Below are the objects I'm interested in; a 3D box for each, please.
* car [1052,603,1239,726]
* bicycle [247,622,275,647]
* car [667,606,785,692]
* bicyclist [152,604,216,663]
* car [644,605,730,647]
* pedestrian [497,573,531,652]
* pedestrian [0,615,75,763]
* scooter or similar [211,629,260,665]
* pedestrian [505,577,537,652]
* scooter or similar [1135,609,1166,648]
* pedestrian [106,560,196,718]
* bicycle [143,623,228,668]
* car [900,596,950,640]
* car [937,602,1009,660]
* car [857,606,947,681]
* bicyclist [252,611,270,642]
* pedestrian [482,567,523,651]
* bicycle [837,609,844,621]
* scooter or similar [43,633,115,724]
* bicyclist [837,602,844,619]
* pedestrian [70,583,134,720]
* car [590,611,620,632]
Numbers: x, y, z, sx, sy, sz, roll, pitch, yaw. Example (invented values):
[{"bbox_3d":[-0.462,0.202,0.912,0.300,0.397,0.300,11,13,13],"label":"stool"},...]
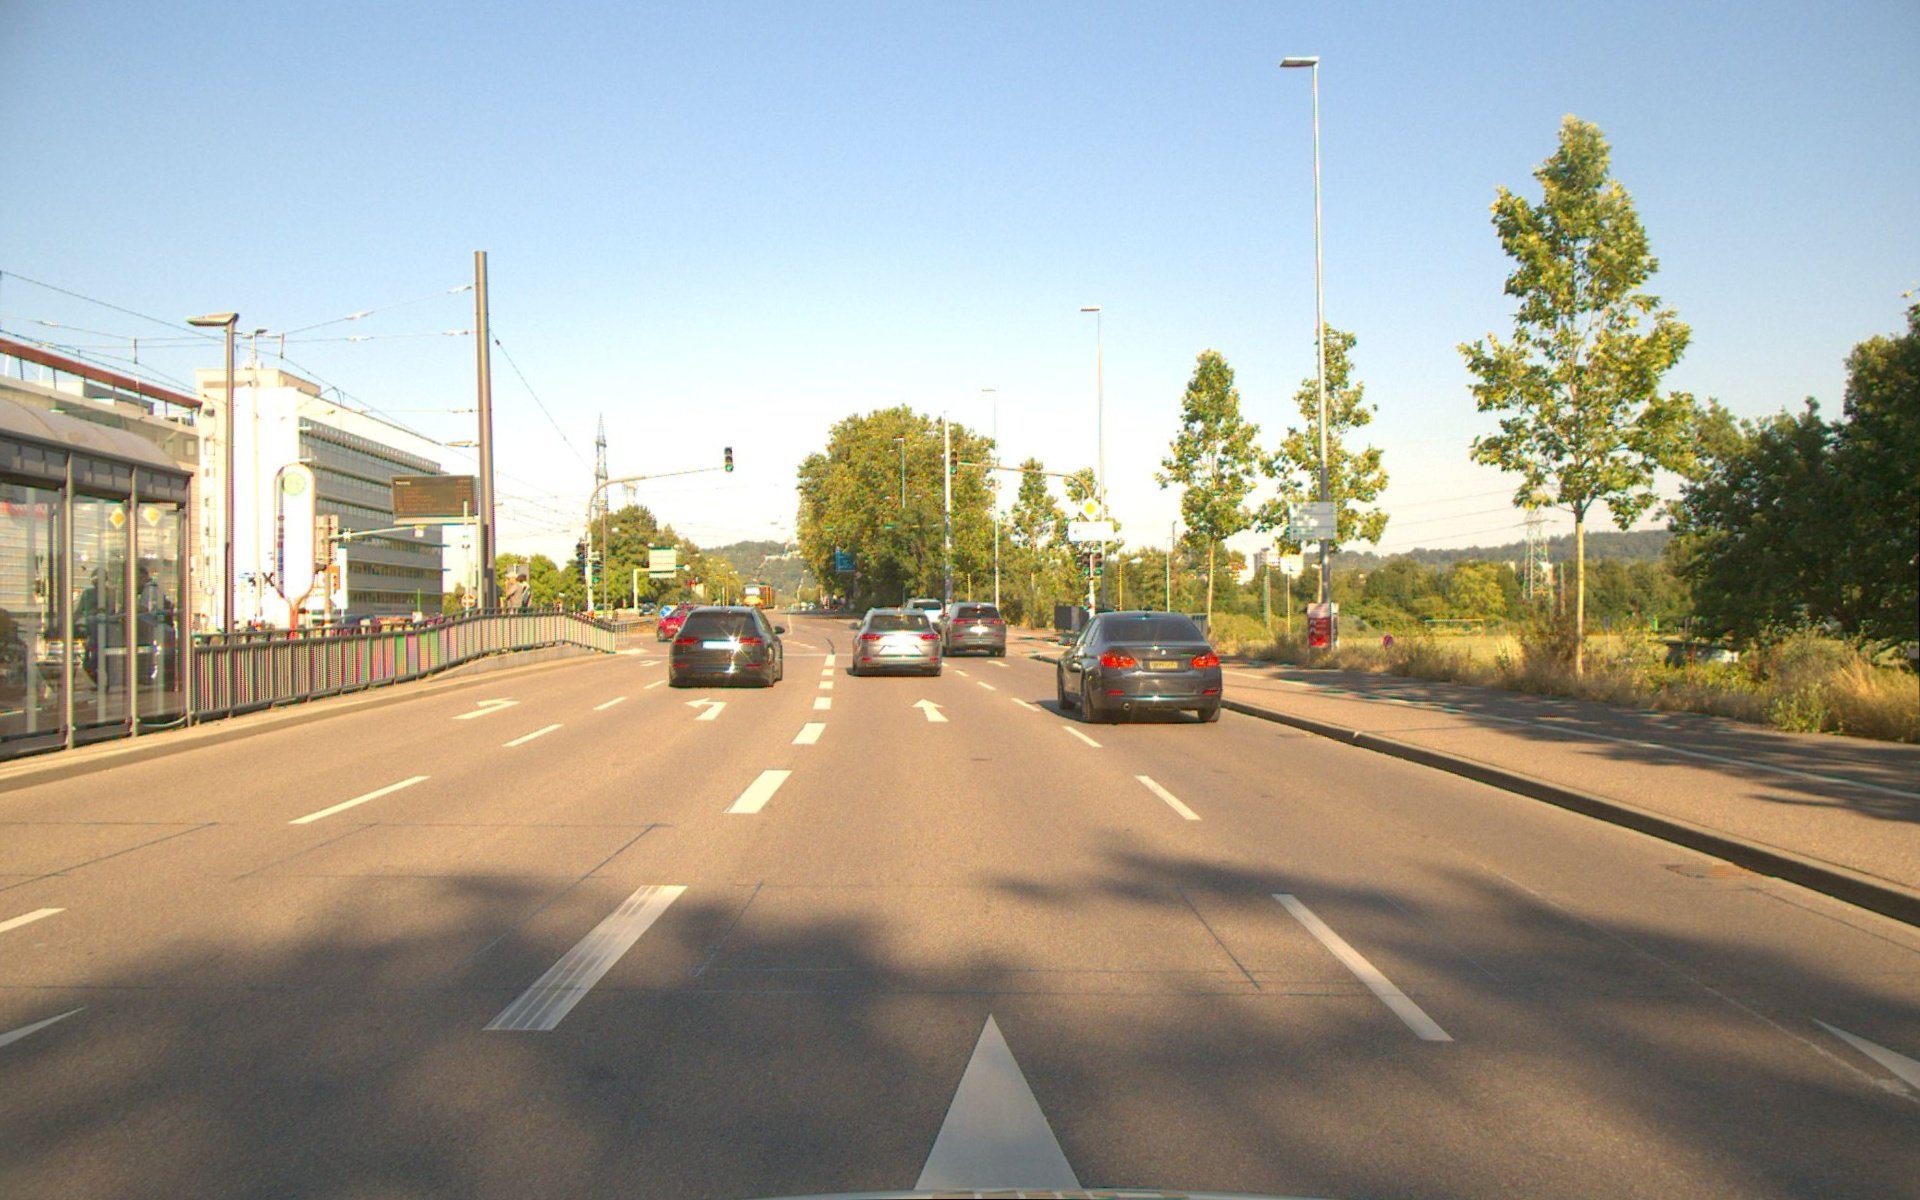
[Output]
[{"bbox_3d":[2.423,0.821,22.716,1.829,1.493,4.583,-1,-1,-3],"label":"car"},{"bbox_3d":[-35.545,1.752,84.118,0.576,1.188,1.991,0,0,-1],"label":"bicycle"},{"bbox_3d":[-4.248,0.852,30.567,1.877,1.483,4.088,0,0,-4],"label":"car"},{"bbox_3d":[-22.520,0.969,48.041,0.804,1.645,1.485,-3,-2,27],"label":"bicyclist"},{"bbox_3d":[-11.148,1.063,67.482,1.758,1.485,3.528,-3,-1,-43],"label":"car"},{"bbox_3d":[-9.947,0.276,36.915,0.523,1.723,0.760,1,-1,-2],"label":"pedestrian"},{"bbox_3d":[-8.449,0.777,14.738,0.667,1.253,0.878,1,0,-4],"label":"pedestrian"},{"bbox_3d":[-21.702,1.396,49.556,0.771,1.033,1.065,-3,-2,27],"label":"scooter or similar"},{"bbox_3d":[-10.048,0.327,37.851,0.523,1.686,0.750,1,-1,-2],"label":"pedestrian"},{"bbox_3d":[6.233,0.921,54.243,0.515,1.252,1.260,-1,0,-17],"label":"scooter or similar"},{"bbox_3d":[-9.166,0.436,18.758,0.680,1.746,0.820,0,0,-9],"label":"pedestrian"},{"bbox_3d":[-22.496,1.304,48.075,0.698,1.239,2.277,-3,-1,27],"label":"bicycle"},{"bbox_3d":[-1.567,0.763,72.528,1.847,1.827,3.995,1,0,-6],"label":"car"},{"bbox_3d":[0.353,0.916,50.945,1.808,1.690,4.435,0,0,-5],"label":"car"},{"bbox_3d":[-1.307,0.911,36.239,1.828,1.493,4.663,1,0,-3],"label":"car"},{"bbox_3d":[-35.540,1.324,84.088,0.576,1.549,0.751,0,0,-1],"label":"bicyclist"},{"bbox_3d":[-10.008,0.196,36.212,0.692,1.806,0.535,1,-1,0],"label":"pedestrian"},{"bbox_3d":[-11.375,1.438,157.797,0.610,1.140,1.811,-2,0,-5],"label":"bicycle"},{"bbox_3d":[-10.161,0.891,19.093,0.560,1.004,0.813,1,0,-16],"label":"scooter or similar"},{"bbox_3d":[-11.394,0.992,157.851,0.672,1.535,0.890,0,0,-5],"label":"bicyclist"},{"bbox_3d":[-10.328,0.610,19.919,0.547,1.624,0.638,0,0,-17],"label":"pedestrian"},{"bbox_3d":[-28.276,1.692,131.928,1.748,1.473,4.104,-2,0,-4],"label":"car"}]
